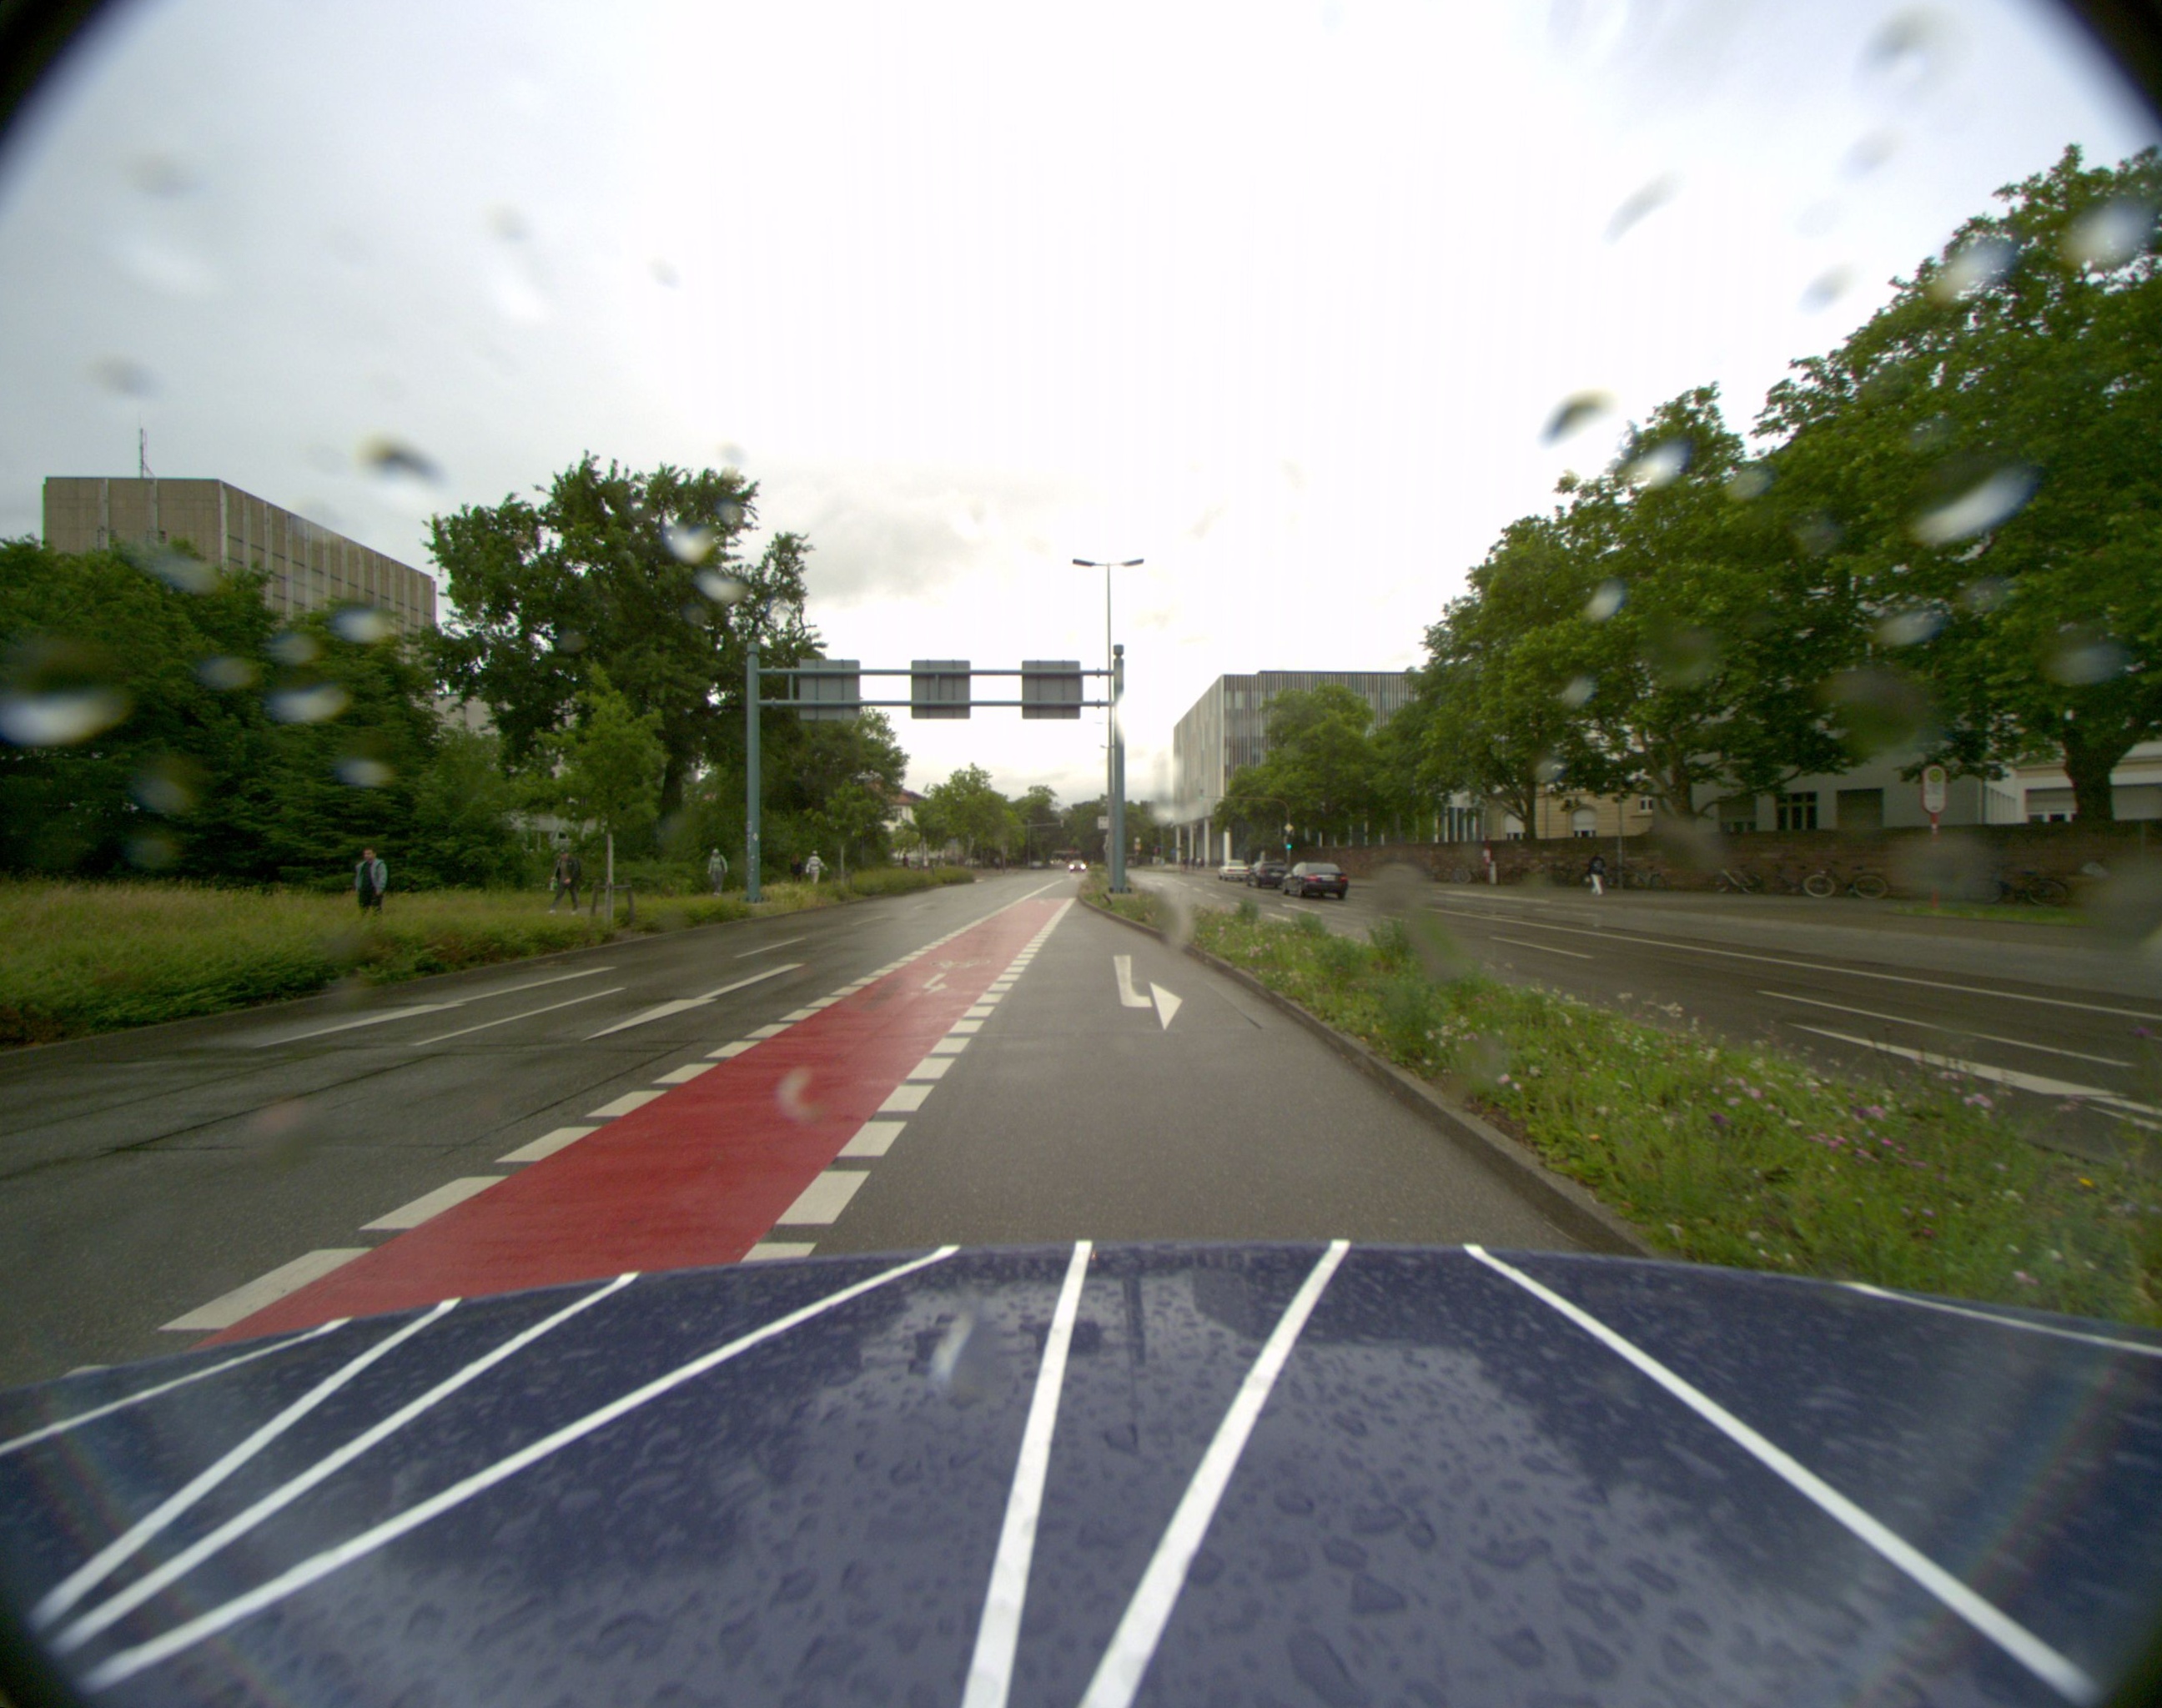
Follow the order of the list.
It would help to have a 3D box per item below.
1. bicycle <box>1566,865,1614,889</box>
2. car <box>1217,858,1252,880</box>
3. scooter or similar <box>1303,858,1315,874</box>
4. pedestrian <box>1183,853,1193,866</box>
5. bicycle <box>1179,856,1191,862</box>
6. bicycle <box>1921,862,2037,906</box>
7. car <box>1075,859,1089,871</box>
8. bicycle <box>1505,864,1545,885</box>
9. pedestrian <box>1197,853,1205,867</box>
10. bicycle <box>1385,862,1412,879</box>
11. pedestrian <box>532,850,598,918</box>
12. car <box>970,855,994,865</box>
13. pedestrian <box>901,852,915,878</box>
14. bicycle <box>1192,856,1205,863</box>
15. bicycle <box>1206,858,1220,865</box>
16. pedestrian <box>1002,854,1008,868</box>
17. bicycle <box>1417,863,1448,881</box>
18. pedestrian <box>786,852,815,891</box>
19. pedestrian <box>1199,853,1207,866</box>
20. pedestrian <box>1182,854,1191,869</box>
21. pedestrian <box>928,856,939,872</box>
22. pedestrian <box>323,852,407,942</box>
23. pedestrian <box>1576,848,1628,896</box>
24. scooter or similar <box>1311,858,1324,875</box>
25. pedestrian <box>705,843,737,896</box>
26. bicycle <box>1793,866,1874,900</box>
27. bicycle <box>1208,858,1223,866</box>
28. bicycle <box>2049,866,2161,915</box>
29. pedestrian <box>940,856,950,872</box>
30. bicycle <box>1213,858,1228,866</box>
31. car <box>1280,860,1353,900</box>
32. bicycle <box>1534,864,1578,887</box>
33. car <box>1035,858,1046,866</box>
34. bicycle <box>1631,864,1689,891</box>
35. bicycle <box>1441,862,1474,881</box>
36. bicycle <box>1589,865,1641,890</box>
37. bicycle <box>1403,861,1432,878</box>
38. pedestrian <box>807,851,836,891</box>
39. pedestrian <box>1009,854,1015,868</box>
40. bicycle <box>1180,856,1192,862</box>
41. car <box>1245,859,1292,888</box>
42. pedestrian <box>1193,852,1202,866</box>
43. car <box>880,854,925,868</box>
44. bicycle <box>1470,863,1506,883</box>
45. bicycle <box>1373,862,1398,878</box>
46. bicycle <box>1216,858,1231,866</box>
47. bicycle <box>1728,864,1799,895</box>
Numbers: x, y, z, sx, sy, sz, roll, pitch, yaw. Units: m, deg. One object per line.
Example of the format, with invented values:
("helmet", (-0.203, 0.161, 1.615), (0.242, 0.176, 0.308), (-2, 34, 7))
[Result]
("bicycle", (21.762, 0.962, 32.551), (0.733, 0.977, 1.699), (-1, 0, -10))
("car", (10.498, 0.983, 52.097), (1.599, 1.407, 4.525), (1, 0, 2))
("scooter or similar", (18.066, 0.957, 60.116), (0.392, 1.191, 1.141), (-7, 1, -4))
("pedestrian", (14.592, 0.711, 103.612), (0.941, 1.813, 0.921), (0, 0, -29))
("bicycle", (20.489, 1.010, 150.021), (2.282, 1.215, 0.599), (0, 0, 10))
("bicycle", (24.587, 0.789, 20.852), (0.575, 1.129, 1.988), (0, 0, -19))
("car", (0.136, 1.369, 94.173), (1.660, 1.356, 4.106), (0, 0, -1))
("bicycle", (20.999, 0.963, 35.955), (0.733, 0.977, 1.699), (-1, 0, -10))
("pedestrian", (16.167, 0.773, 102.204), (0.788, 1.813, 0.623), (0, 0, -22))
("bicycle", (19.427, 1.007, 46.510), (0.733, 0.977, 1.699), (-1, 0, -10))
("pedestrian", (-13.422, 0.759, 19.799), (0.935, 1.737, 1.046), (0, 0, 7))
("car", (-18.812, 1.101, 144.853), (4.426, 1.861, 1.637), (0, 0, -7))
("pedestrian", (-12.284, 0.785, 54.063), (0.731, 1.848, 0.851), (0, 0, 7))
("bicycle", (20.934, 0.955, 135.559), (2.282, 1.215, 0.599), (0, 0, 10))
("bicycle", (21.418, 1.246, 123.291), (2.286, 1.215, 0.598), (0, 0, -12))
("pedestrian", (-9.731, 0.917, 97.377), (0.625, 1.813, 0.786), (0, 0, -13))
("bicycle", (19.737, 0.991, 42.648), (0.733, 0.977, 1.863), (-1, 0, -6))
("pedestrian", (-12.473, 0.777, 33.792), (0.935, 1.693, 0.829), (-2, -2, 5))
("pedestrian", (16.271, 0.729, 101.275), (0.788, 1.813, 0.623), (0, 0, -22))
("pedestrian", (12.750, 0.890, 91.523), (0.788, 1.813, 0.794), (0, 0, -22))
("pedestrian", (-14.964, 1.010, 77.125), (0.878, 1.597, 0.862), (0, 0, -27))
("pedestrian", (-14.735, 0.862, 15.653), (0.935, 1.786, 0.829), (0, 0, 7))
("pedestrian", (19.141, 0.647, 27.947), (0.871, 1.686, 1.399), (-1, 0, -5))
("scooter or similar", (18.160, 0.950, 58.286), (0.392, 1.191, 1.141), (-7, 1, -5))
("pedestrian", (-13.912, 0.598, 29.353), (0.792, 2.002, 0.829), (0, 0, 7))
("bicycle", (23.554, 0.888, 23.837), (0.733, 0.977, 1.699), (-1, 0, -10))
("bicycle", (21.683, 1.241, 122.194), (2.286, 1.215, 0.598), (0, 0, -12))
("bicycle", (25.280, 0.874, 18.538), (0.575, 1.129, 1.988), (0, 0, -19))
("pedestrian", (-13.847, 1.000, 77.243), (0.878, 1.597, 0.862), (0, 0, -21))
("bicycle", (22.200, 1.234, 120.785), (2.286, 1.215, 0.598), (0, 0, -12))
("car", (9.956, 1.040, 32.449), (1.813, 1.531, 4.704), (1, 0, 3))
("bicycle", (21.390, 0.954, 34.248), (0.733, 0.977, 1.699), (-1, 0, -10))
("car", (-6.931, 1.362, 131.201), (1.660, 1.259, 4.106), (0, 0, -1))
("bicycle", (21.962, 0.876, 28.848), (0.733, 0.977, 1.699), (-1, 0, -10))
("bicycle", (20.204, 0.932, 40.814), (0.733, 0.977, 1.699), (-1, 0, -10))
("bicycle", (21.906, 0.957, 31.204), (0.733, 0.977, 1.699), (-1, 0, -10))
("bicycle", (19.854, 0.908, 44.827), (0.733, 0.977, 1.699), (-1, 0, -10))
("pedestrian", (-11.471, 0.761, 33.559), (0.935, 1.710, 0.829), (-2, -2, 5))
("pedestrian", (-8.939, 0.918, 98.080), (0.625, 1.813, 0.785), (0, 0, -21))
("bicycle", (20.284, 0.998, 146.635), (2.282, 1.215, 0.599), (0, 0, 10))
("car", (10.134, 1.029, 41.274), (1.627, 1.407, 4.067), (1, 0, 2))
("pedestrian", (15.848, 0.705, 103.311), (0.940, 1.813, 0.922), (0, 0, -22))
("car", (-18.952, 0.752, 80.896), (4.387, 1.330, 1.772), (0, 3, -3))
("bicycle", (20.723, 0.974, 38.707), (0.733, 0.977, 1.699), (-1, 0, -10))
("bicycle", (19.435, 1.015, 48.534), (0.733, 0.977, 1.699), (-1, 0, -10))
("bicycle", (22.528, 1.231, 120.169), (2.286, 1.215, 0.598), (0, 0, -12))
("bicycle", (23.235, 0.856, 25.898), (0.733, 0.977, 1.699), (-1, 0, -10))
